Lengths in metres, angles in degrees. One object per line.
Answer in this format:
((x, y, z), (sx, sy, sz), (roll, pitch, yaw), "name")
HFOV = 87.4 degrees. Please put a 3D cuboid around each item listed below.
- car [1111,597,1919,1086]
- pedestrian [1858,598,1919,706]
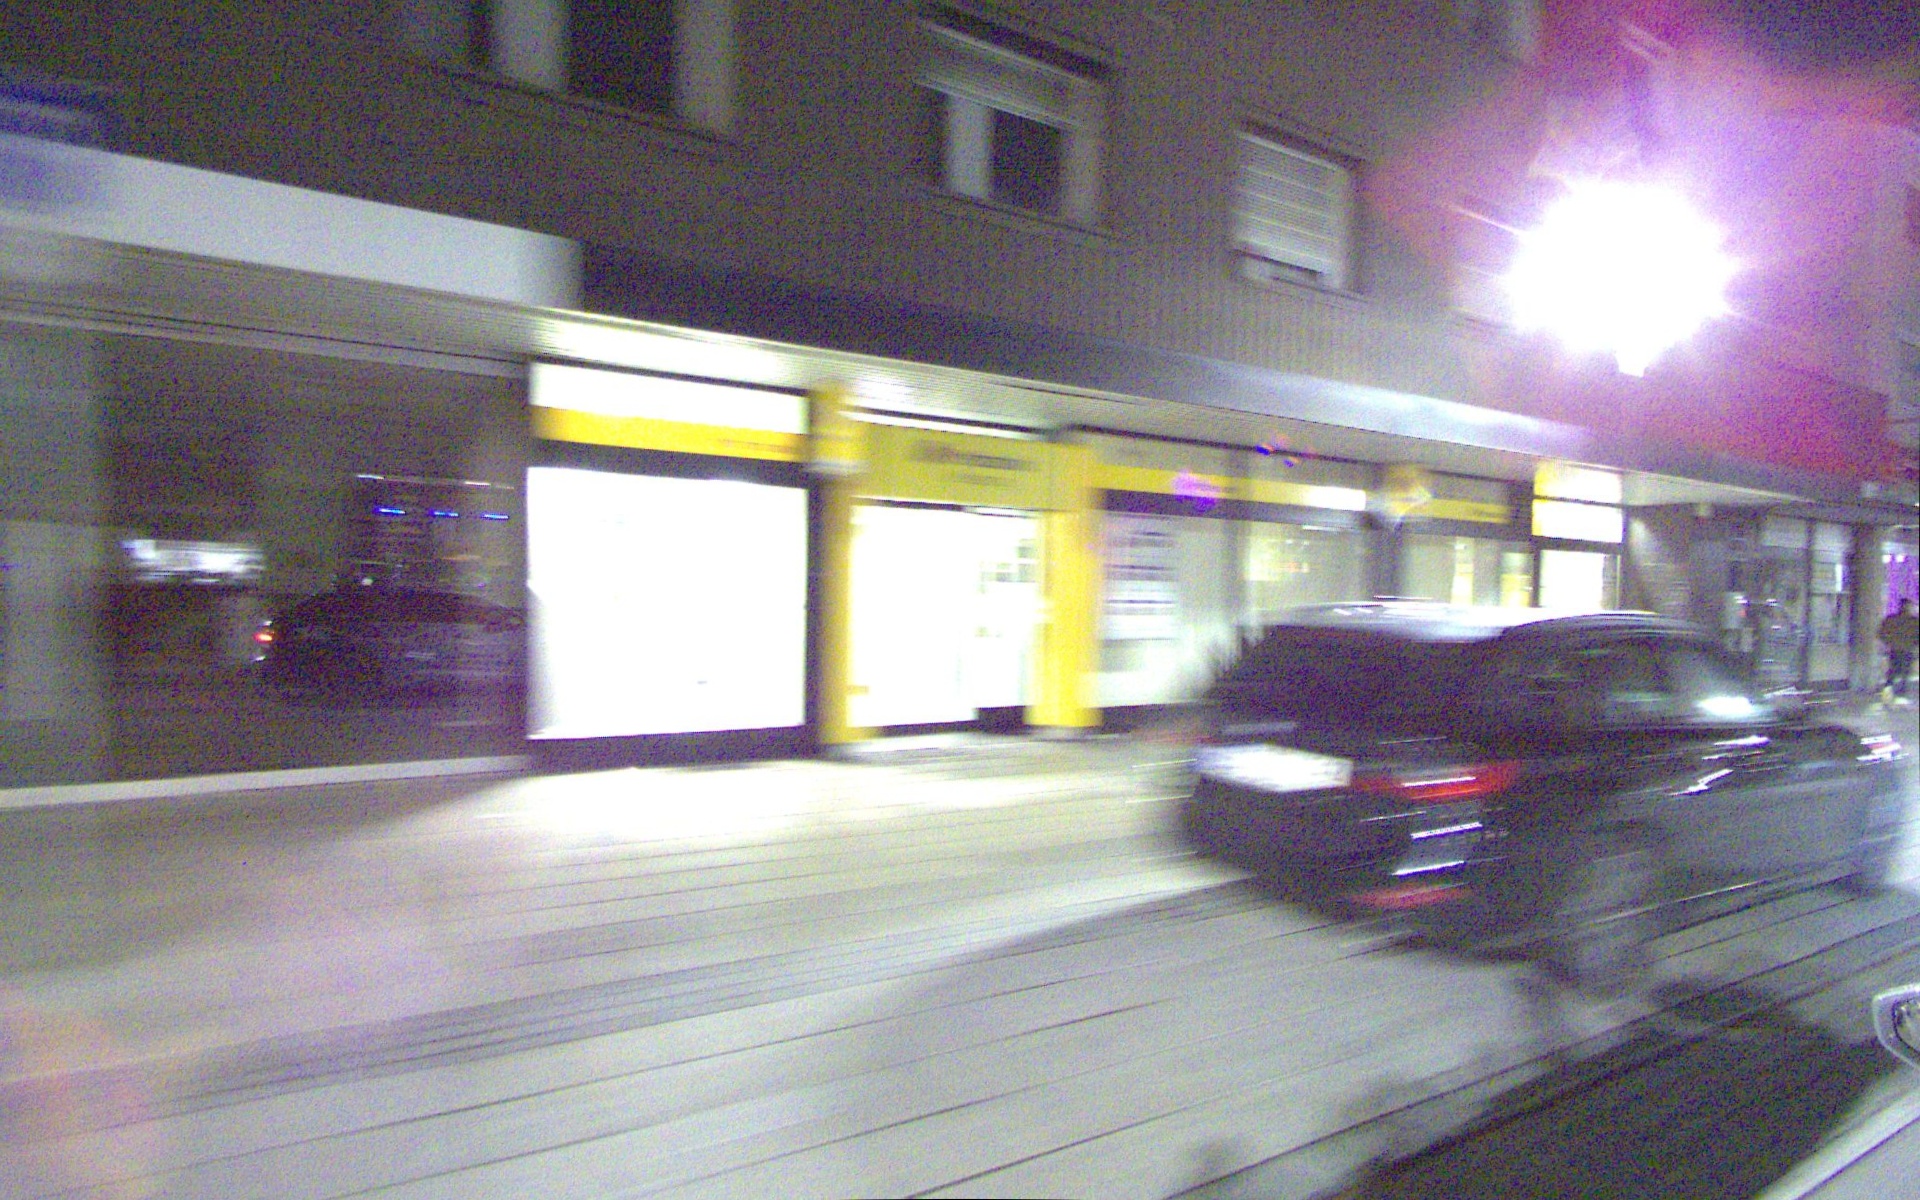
((2.998, 0.806, 5.058), (4.273, 1.498, 1.787), (1, 1, -32), "car")
((15.802, 0.858, 16.992), (1.011, 1.769, 0.618), (1, 1, -31), "pedestrian")
